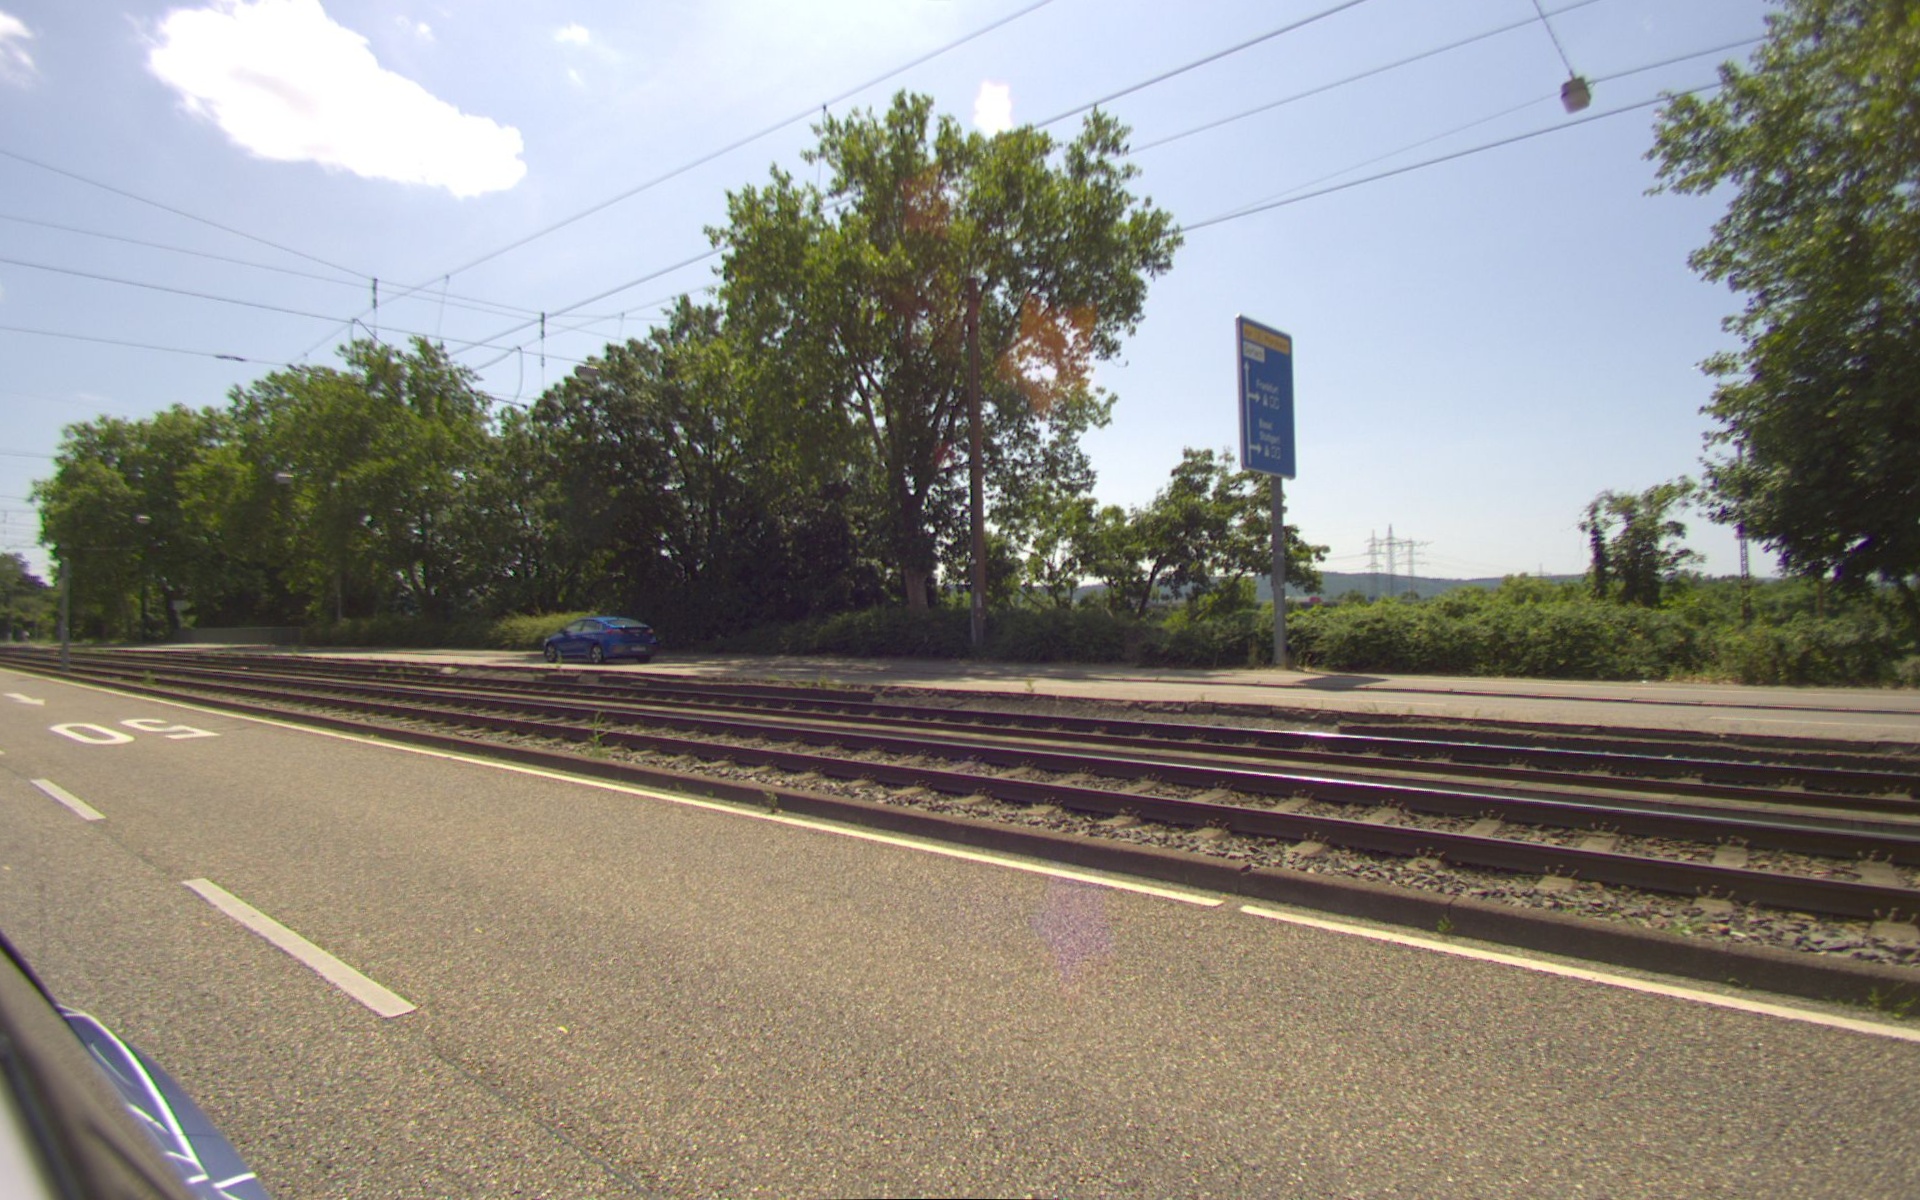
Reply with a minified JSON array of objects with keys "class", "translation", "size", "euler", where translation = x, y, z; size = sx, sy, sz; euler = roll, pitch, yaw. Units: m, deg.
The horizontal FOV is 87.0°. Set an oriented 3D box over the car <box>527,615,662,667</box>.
[{"class":"car","translation":[-11.484,1.281,31.659],"size":[4.730,1.515,1.781],"euler":[-2,-3,39]}]
